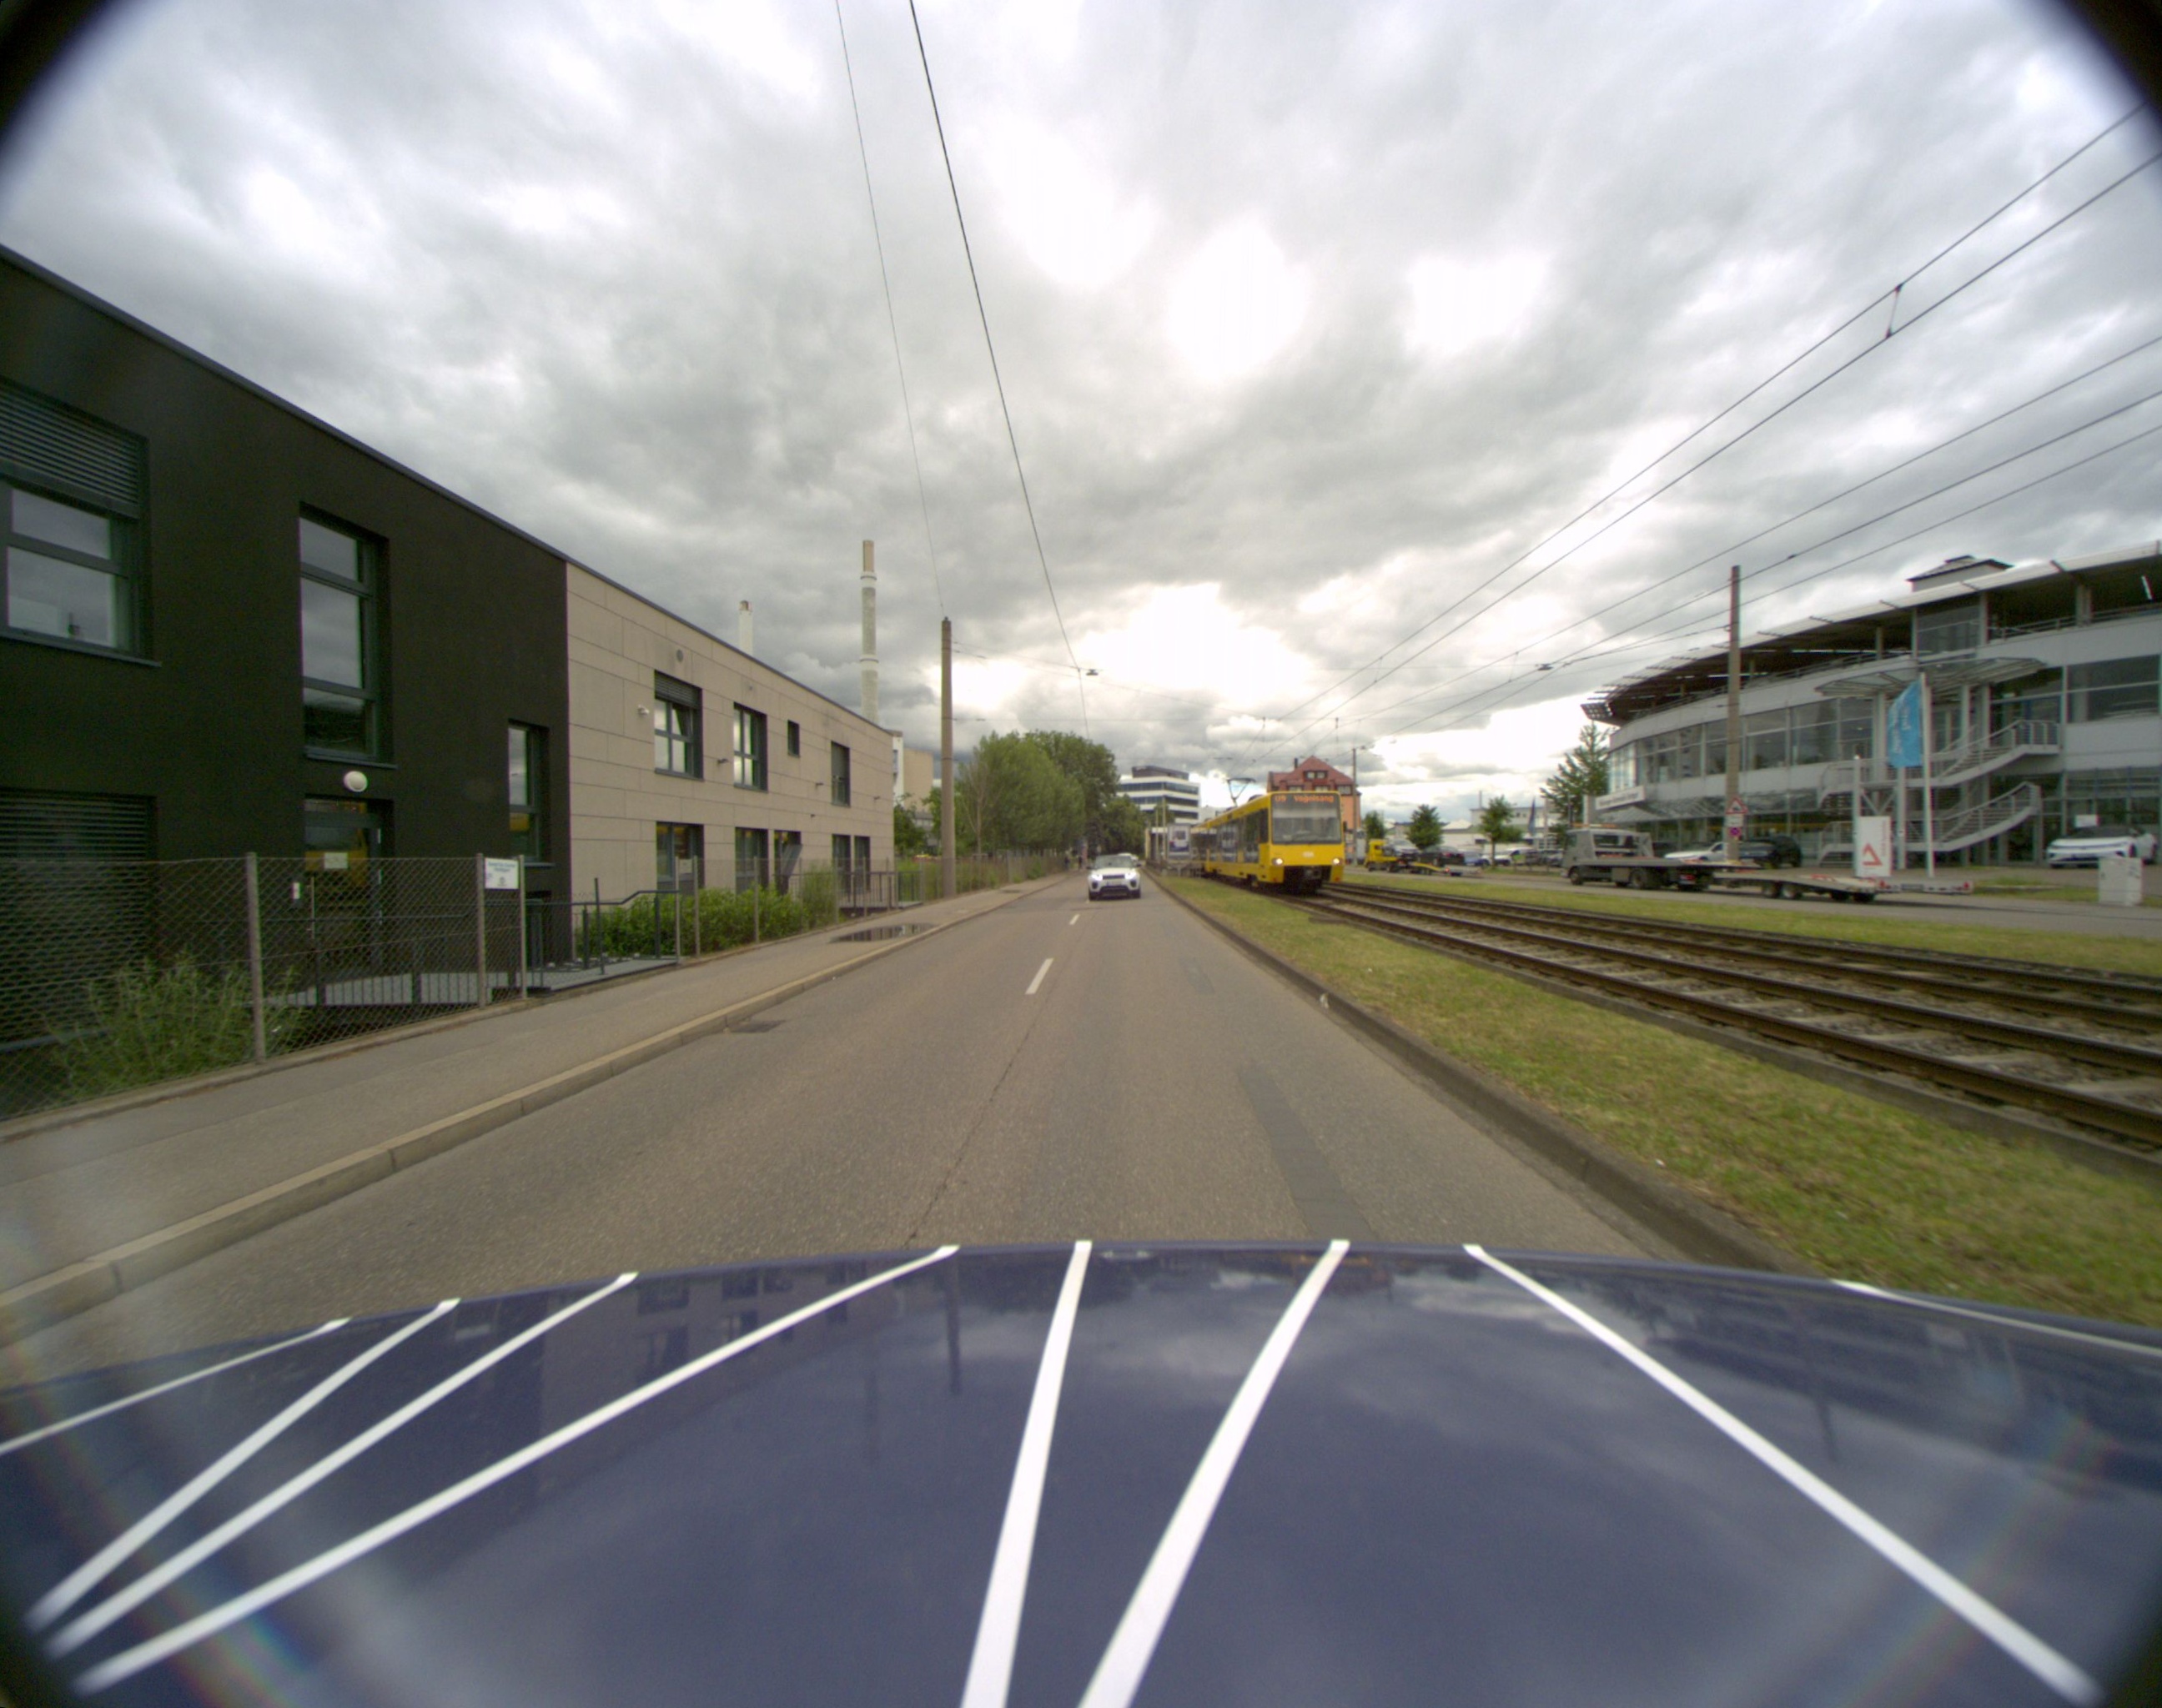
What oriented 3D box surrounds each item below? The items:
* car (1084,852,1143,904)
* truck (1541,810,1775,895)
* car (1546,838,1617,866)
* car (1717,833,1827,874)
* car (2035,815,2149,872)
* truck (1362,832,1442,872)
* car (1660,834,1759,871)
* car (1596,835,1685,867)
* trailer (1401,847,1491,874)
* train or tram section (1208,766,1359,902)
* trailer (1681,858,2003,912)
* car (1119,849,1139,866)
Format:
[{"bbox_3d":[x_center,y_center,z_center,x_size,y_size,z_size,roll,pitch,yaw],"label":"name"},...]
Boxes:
[{"bbox_3d":[1.285,0.853,28.796,1.998,1.718,4.001,-3,0,4],"label":"car"},{"bbox_3d":[22.914,-0.059,31.111,3.114,2.905,8.964,1,0,3],"label":"truck"},{"bbox_3d":[35.990,-0.109,54.741,3.990,1.936,2.003,-1,0,25],"label":"car"},{"bbox_3d":[34.127,-0.031,37.583,4.000,1.936,1.998,-1,0,-9],"label":"car"},{"bbox_3d":[37.760,-0.378,28.370,4.006,2.002,1.995,-1,0,-28],"label":"car"},{"bbox_3d":[24.891,-0.123,59.553,3.056,2.843,9.069,-1,0,4],"label":"truck"},{"bbox_3d":[34.047,-0.094,41.238,4.000,1.936,1.998,-1,0,-9],"label":"car"},{"bbox_3d":[34.615,-0.173,47.103,3.992,1.936,2.002,-1,0,15],"label":"car"},{"bbox_3d":[24.388,0.403,51.238,2.984,1.678,7.571,-1,0,5],"label":"trailer"},{"bbox_3d":[7.573,-0.708,31.603,3.395,3.984,16.950,-2,1,6],"label":"train or tram section"},{"bbox_3d":[22.410,0.810,23.145,3.055,1.270,7.008,1,0,4],"label":"trailer"},{"bbox_3d":[5.301,0.363,83.809,1.998,1.881,4.627,-1,0,1],"label":"car"}]
